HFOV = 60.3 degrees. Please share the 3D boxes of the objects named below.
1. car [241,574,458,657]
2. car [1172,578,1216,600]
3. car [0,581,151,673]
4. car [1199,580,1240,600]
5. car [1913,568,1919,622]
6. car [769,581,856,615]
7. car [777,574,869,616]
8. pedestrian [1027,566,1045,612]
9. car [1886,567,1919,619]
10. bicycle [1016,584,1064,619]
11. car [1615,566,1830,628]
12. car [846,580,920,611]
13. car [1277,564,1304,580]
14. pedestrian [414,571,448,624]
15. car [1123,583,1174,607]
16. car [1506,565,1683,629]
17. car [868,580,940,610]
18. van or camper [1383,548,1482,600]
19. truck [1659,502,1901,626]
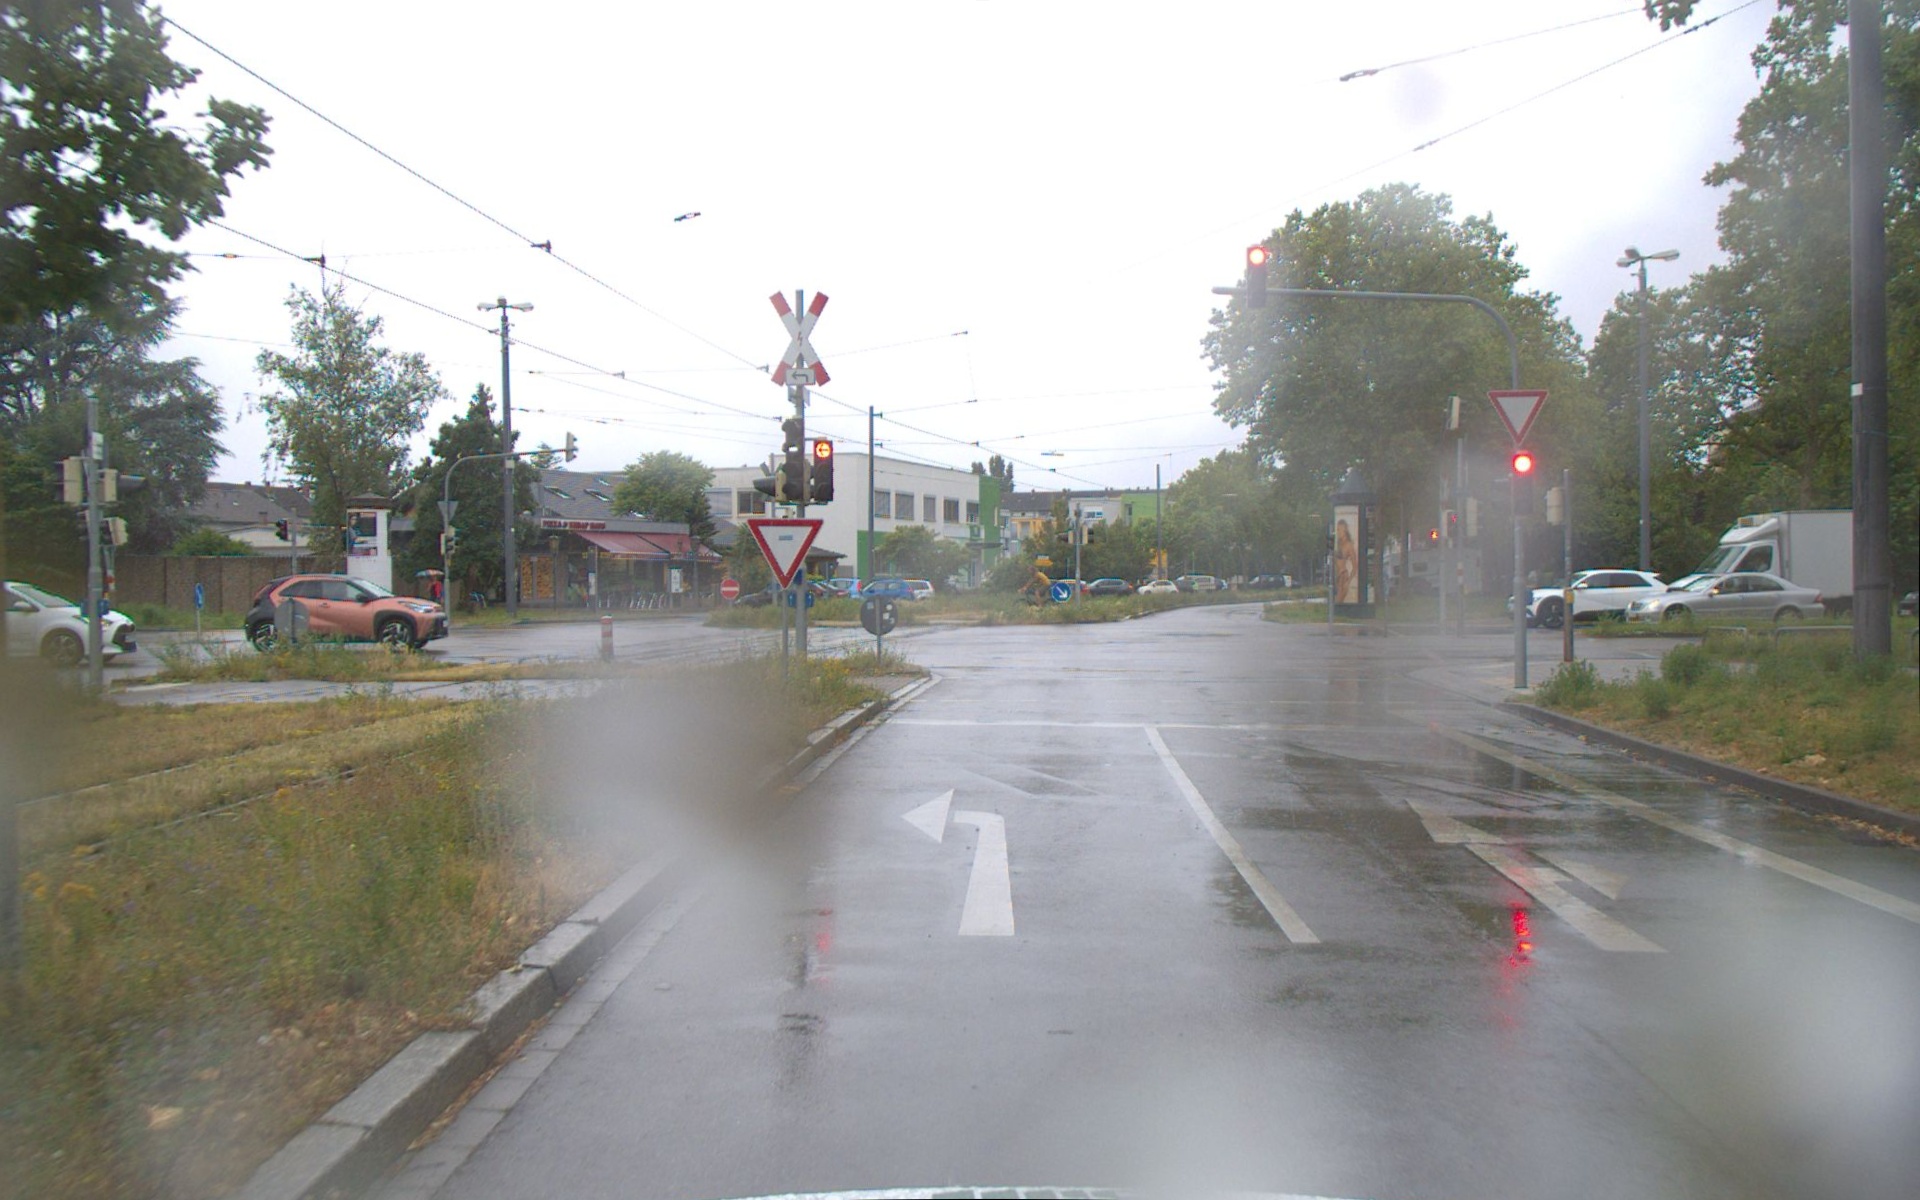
[{"bbox_3d":[-12.150,0.294,33.091,3.745,1.525,1.650,-1,0,-7],"label":"car"},{"bbox_3d":[22.240,-1.032,157.159,4.047,2.010,1.675,-1,0,8],"label":"car"},{"bbox_3d":[-16.559,0.482,28.892,3.988,1.525,1.650,-1,0,-7],"label":"car"},{"bbox_3d":[26.088,-1.008,166.276,4.047,1.892,1.675,-1,0,8],"label":"car"},{"bbox_3d":[27.230,-0.155,42.966,4.027,1.414,1.644,0,0,-2],"label":"car"},{"bbox_3d":[-6.670,-0.081,75.117,3.671,1.467,1.764,-1,0,5],"label":"car"},{"bbox_3d":[-6.510,-0.257,78.572,4.047,1.892,1.675,-1,0,8],"label":"car"},{"bbox_3d":[2.485,-0.362,54.135,0.564,1.501,0.500,-1,0,0],"label":"pedestrian"},{"bbox_3d":[28.866,-0.205,47.005,4.114,1.447,1.766,0,0,0],"label":"car"},{"bbox_3d":[2.607,0.041,54.133,1.529,1.121,0.500,-1,0,0],"label":"bicycle"},{"bbox_3d":[18.277,-0.076,39.738,4.421,1.414,1.644,0,0,-2],"label":"car"},{"bbox_3d":[-3.891,-0.221,83.449,3.677,1.467,1.761,-1,0,-5],"label":"car"},{"bbox_3d":[44.809,-3.797,223.920,3.371,2.049,1.808,-1,0,18],"label":"car"},{"bbox_3d":[-18.037,-0.094,56.372,0.796,1.794,0.895,-1,0,-43],"label":"pedestrian"},{"bbox_3d":[15.912,-0.427,139.476,4.052,1.892,1.672,-1,0,-3],"label":"car"},{"bbox_3d":[17.893,-0.086,46.736,4.373,1.685,1.651,-1,0,-4],"label":"car"},{"bbox_3d":[-2.940,-0.268,86.707,3.677,1.467,1.761,-1,0,-5],"label":"car"},{"bbox_3d":[26.320,-1.454,92.084,5.112,2.744,2.244,2,1,20],"label":"van or camper"},{"bbox_3d":[21.262,-0.913,43.016,5.358,3.112,1.980,0,0,-2],"label":"truck"}]
